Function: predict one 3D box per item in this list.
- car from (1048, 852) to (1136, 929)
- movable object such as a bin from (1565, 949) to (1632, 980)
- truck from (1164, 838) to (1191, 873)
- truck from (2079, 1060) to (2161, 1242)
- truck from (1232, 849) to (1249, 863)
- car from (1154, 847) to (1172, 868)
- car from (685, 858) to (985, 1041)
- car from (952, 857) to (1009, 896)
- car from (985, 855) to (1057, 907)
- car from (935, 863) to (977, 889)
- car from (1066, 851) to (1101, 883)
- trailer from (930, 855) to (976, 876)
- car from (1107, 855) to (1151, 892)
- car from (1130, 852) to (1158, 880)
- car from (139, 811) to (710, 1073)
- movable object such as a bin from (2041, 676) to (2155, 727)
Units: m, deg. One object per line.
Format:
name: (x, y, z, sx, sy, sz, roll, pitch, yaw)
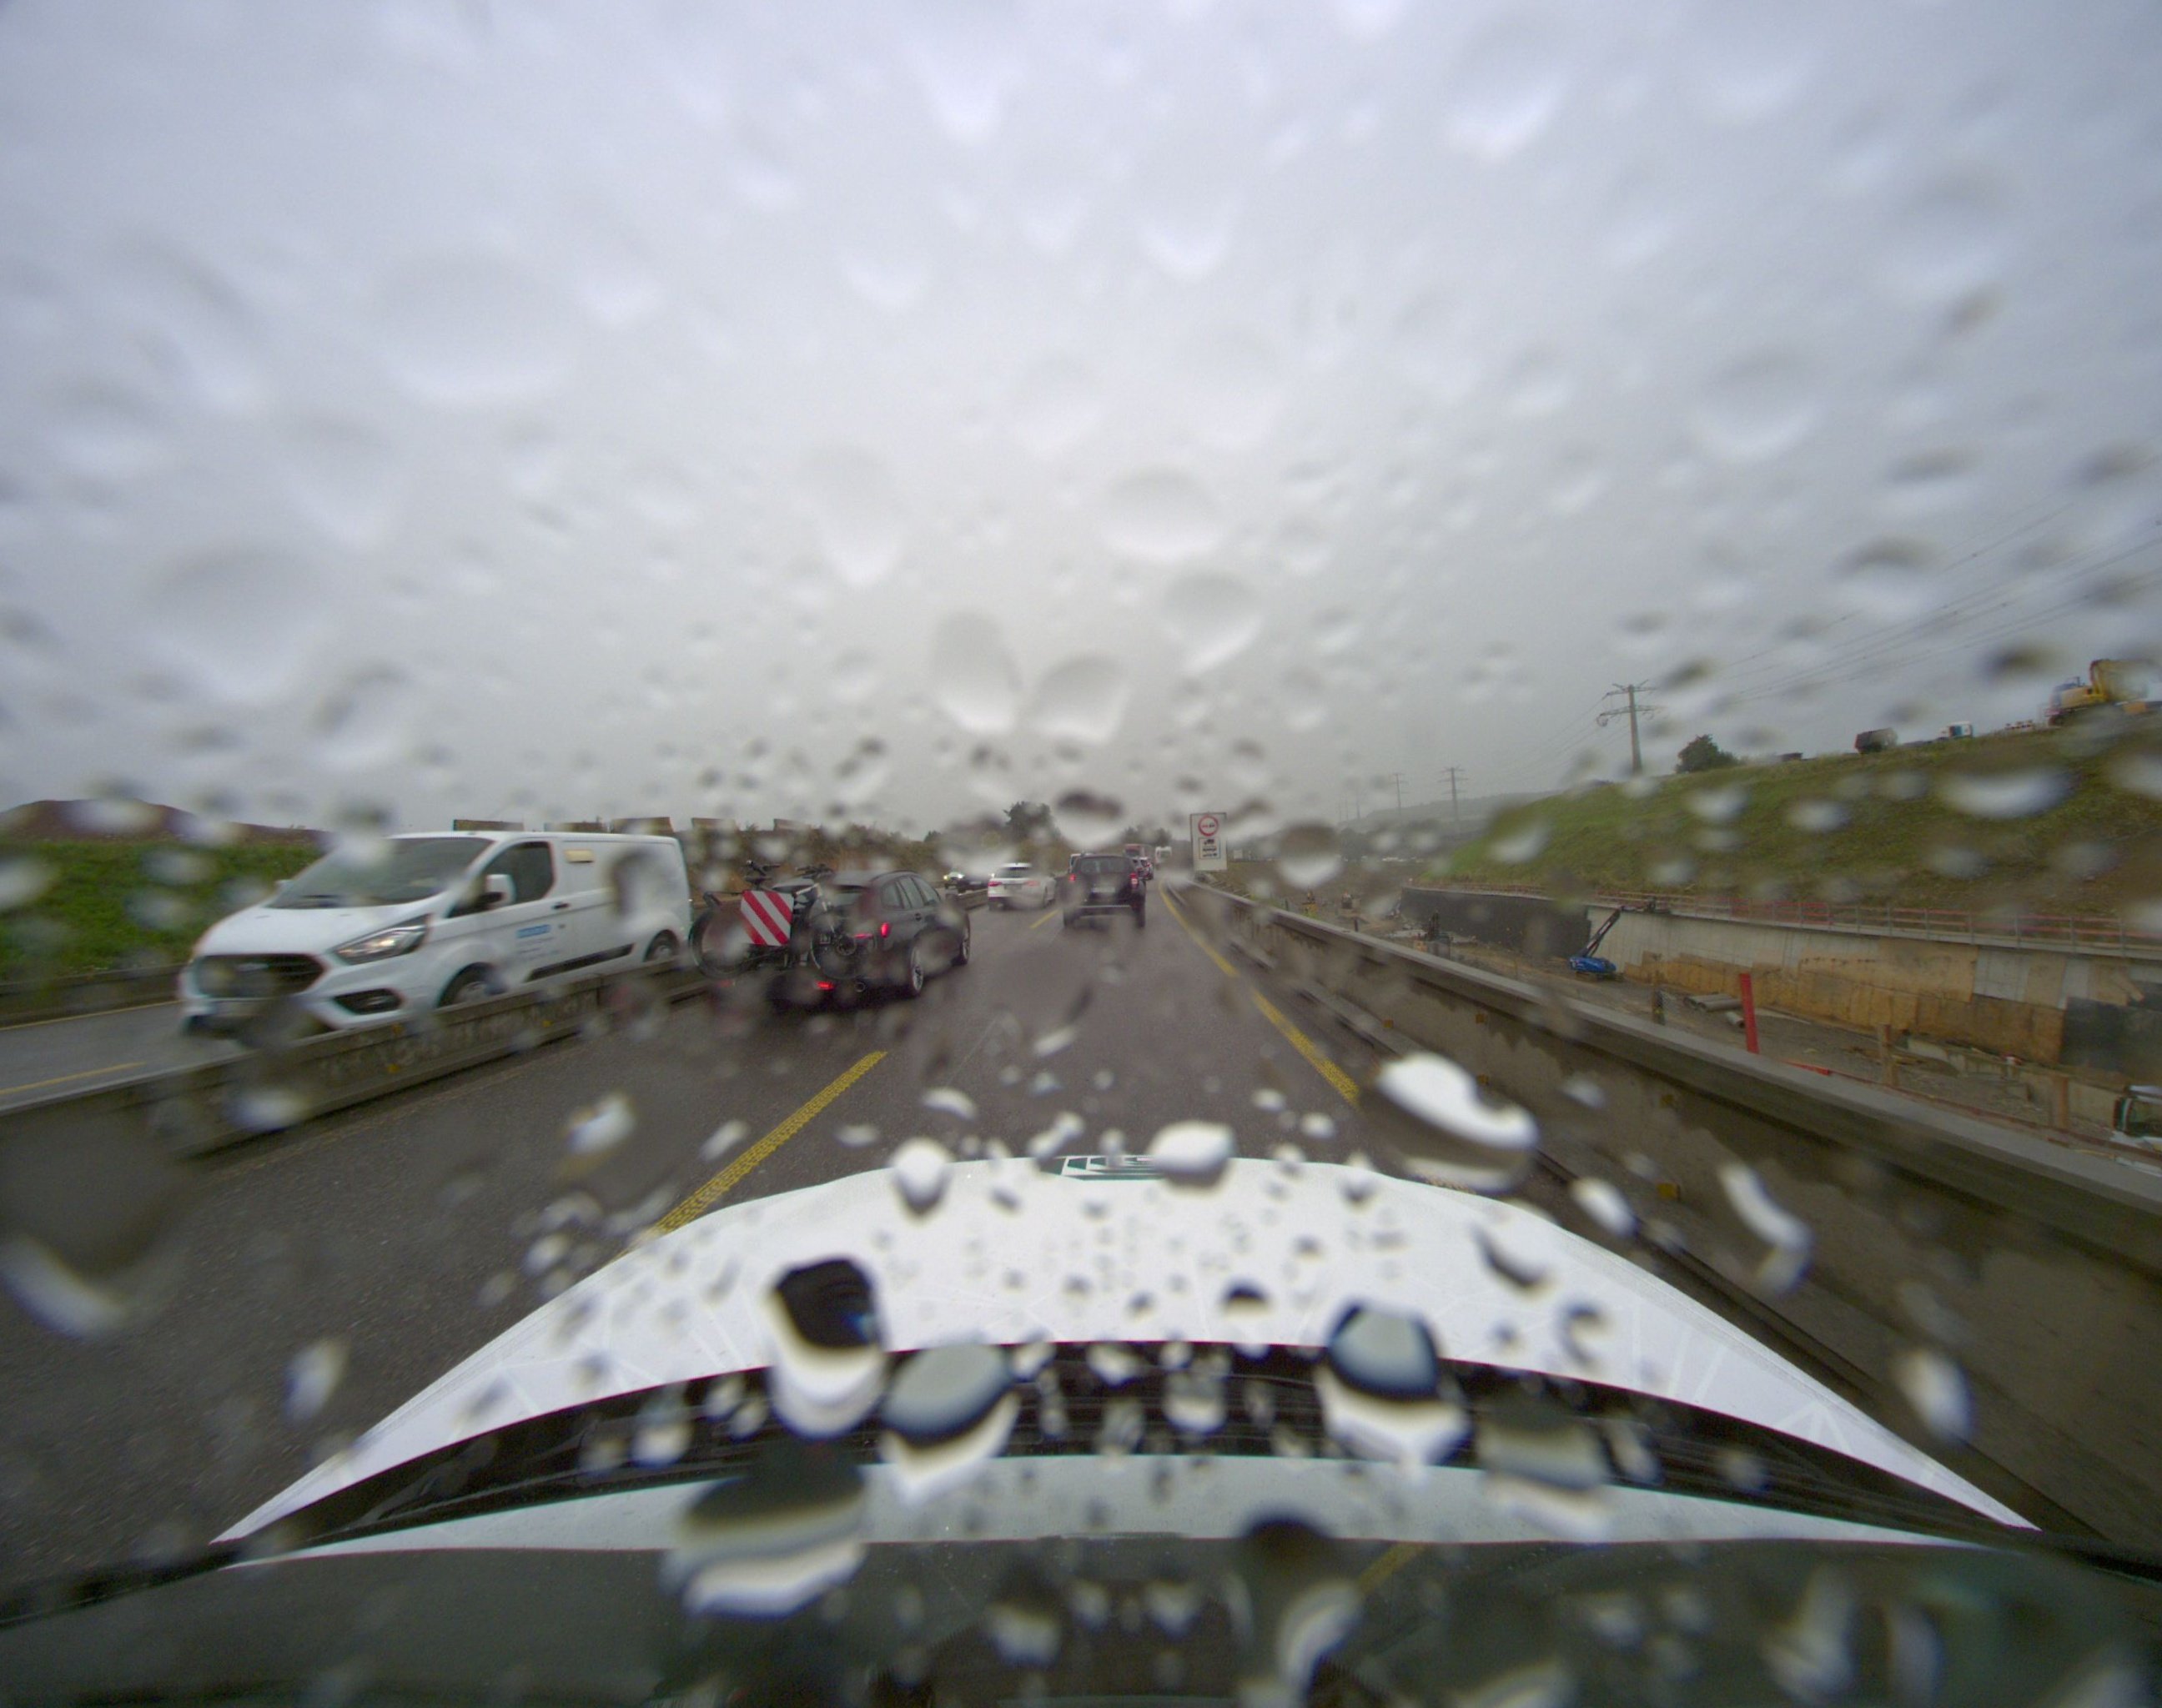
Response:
car: (0.331, 0.803, 19.056, 1.819, 1.591, 4.003, -1, -1, 3)
movable object such as a bin: (39.486, 8.431, 62.209, 2.008, 2.014, 3.799, 3, -4, -35)
truck: (14.854, 0.339, 124.716, 3.523, 5.077, 10.467, -1, -1, 9)
truck: (23.768, 6.358, 13.982, 2.716, 3.491, 9.079, -1, -1, 6)
truck: (46.389, 0.470, 236.206, 3.443, 3.715, 8.459, -2, 0, 20)
car: (9.771, 0.404, 97.039, 1.815, 2.437, 4.168, -1, -1, 9)
car: (-2.567, 0.885, 10.183, 1.727, 1.462, 5.634, -1, 1, 3)
car: (-4.516, 0.992, 37.360, 1.815, 1.639, 4.488, -1, 0, 3)
car: (-1.850, 0.838, 26.301, 1.819, 1.499, 4.003, -1, -1, 3)
car: (-7.330, 1.256, 48.083, 1.573, 1.383, 4.005, -1, 0, 4)
car: (0.200, 0.766, 48.156, 1.818, 1.815, 4.003, -1, -1, 3)
trailer: (-7.478, 0.651, 47.994, 1.573, 1.088, 4.718, -1, 0, 4)
car: (2.089, 0.860, 35.855, 1.819, 1.499, 4.003, -1, -1, 3)
car: (4.400, 0.843, 56.704, 1.818, 1.815, 4.005, -1, -1, 5)
car: (-6.225, 0.669, 8.794, 1.986, 1.999, 4.971, -1, 0, 2)
movable object such as a bin: (63.556, -9.470, 51.000, 2.415, 2.443, 3.979, -1, 1, 9)
